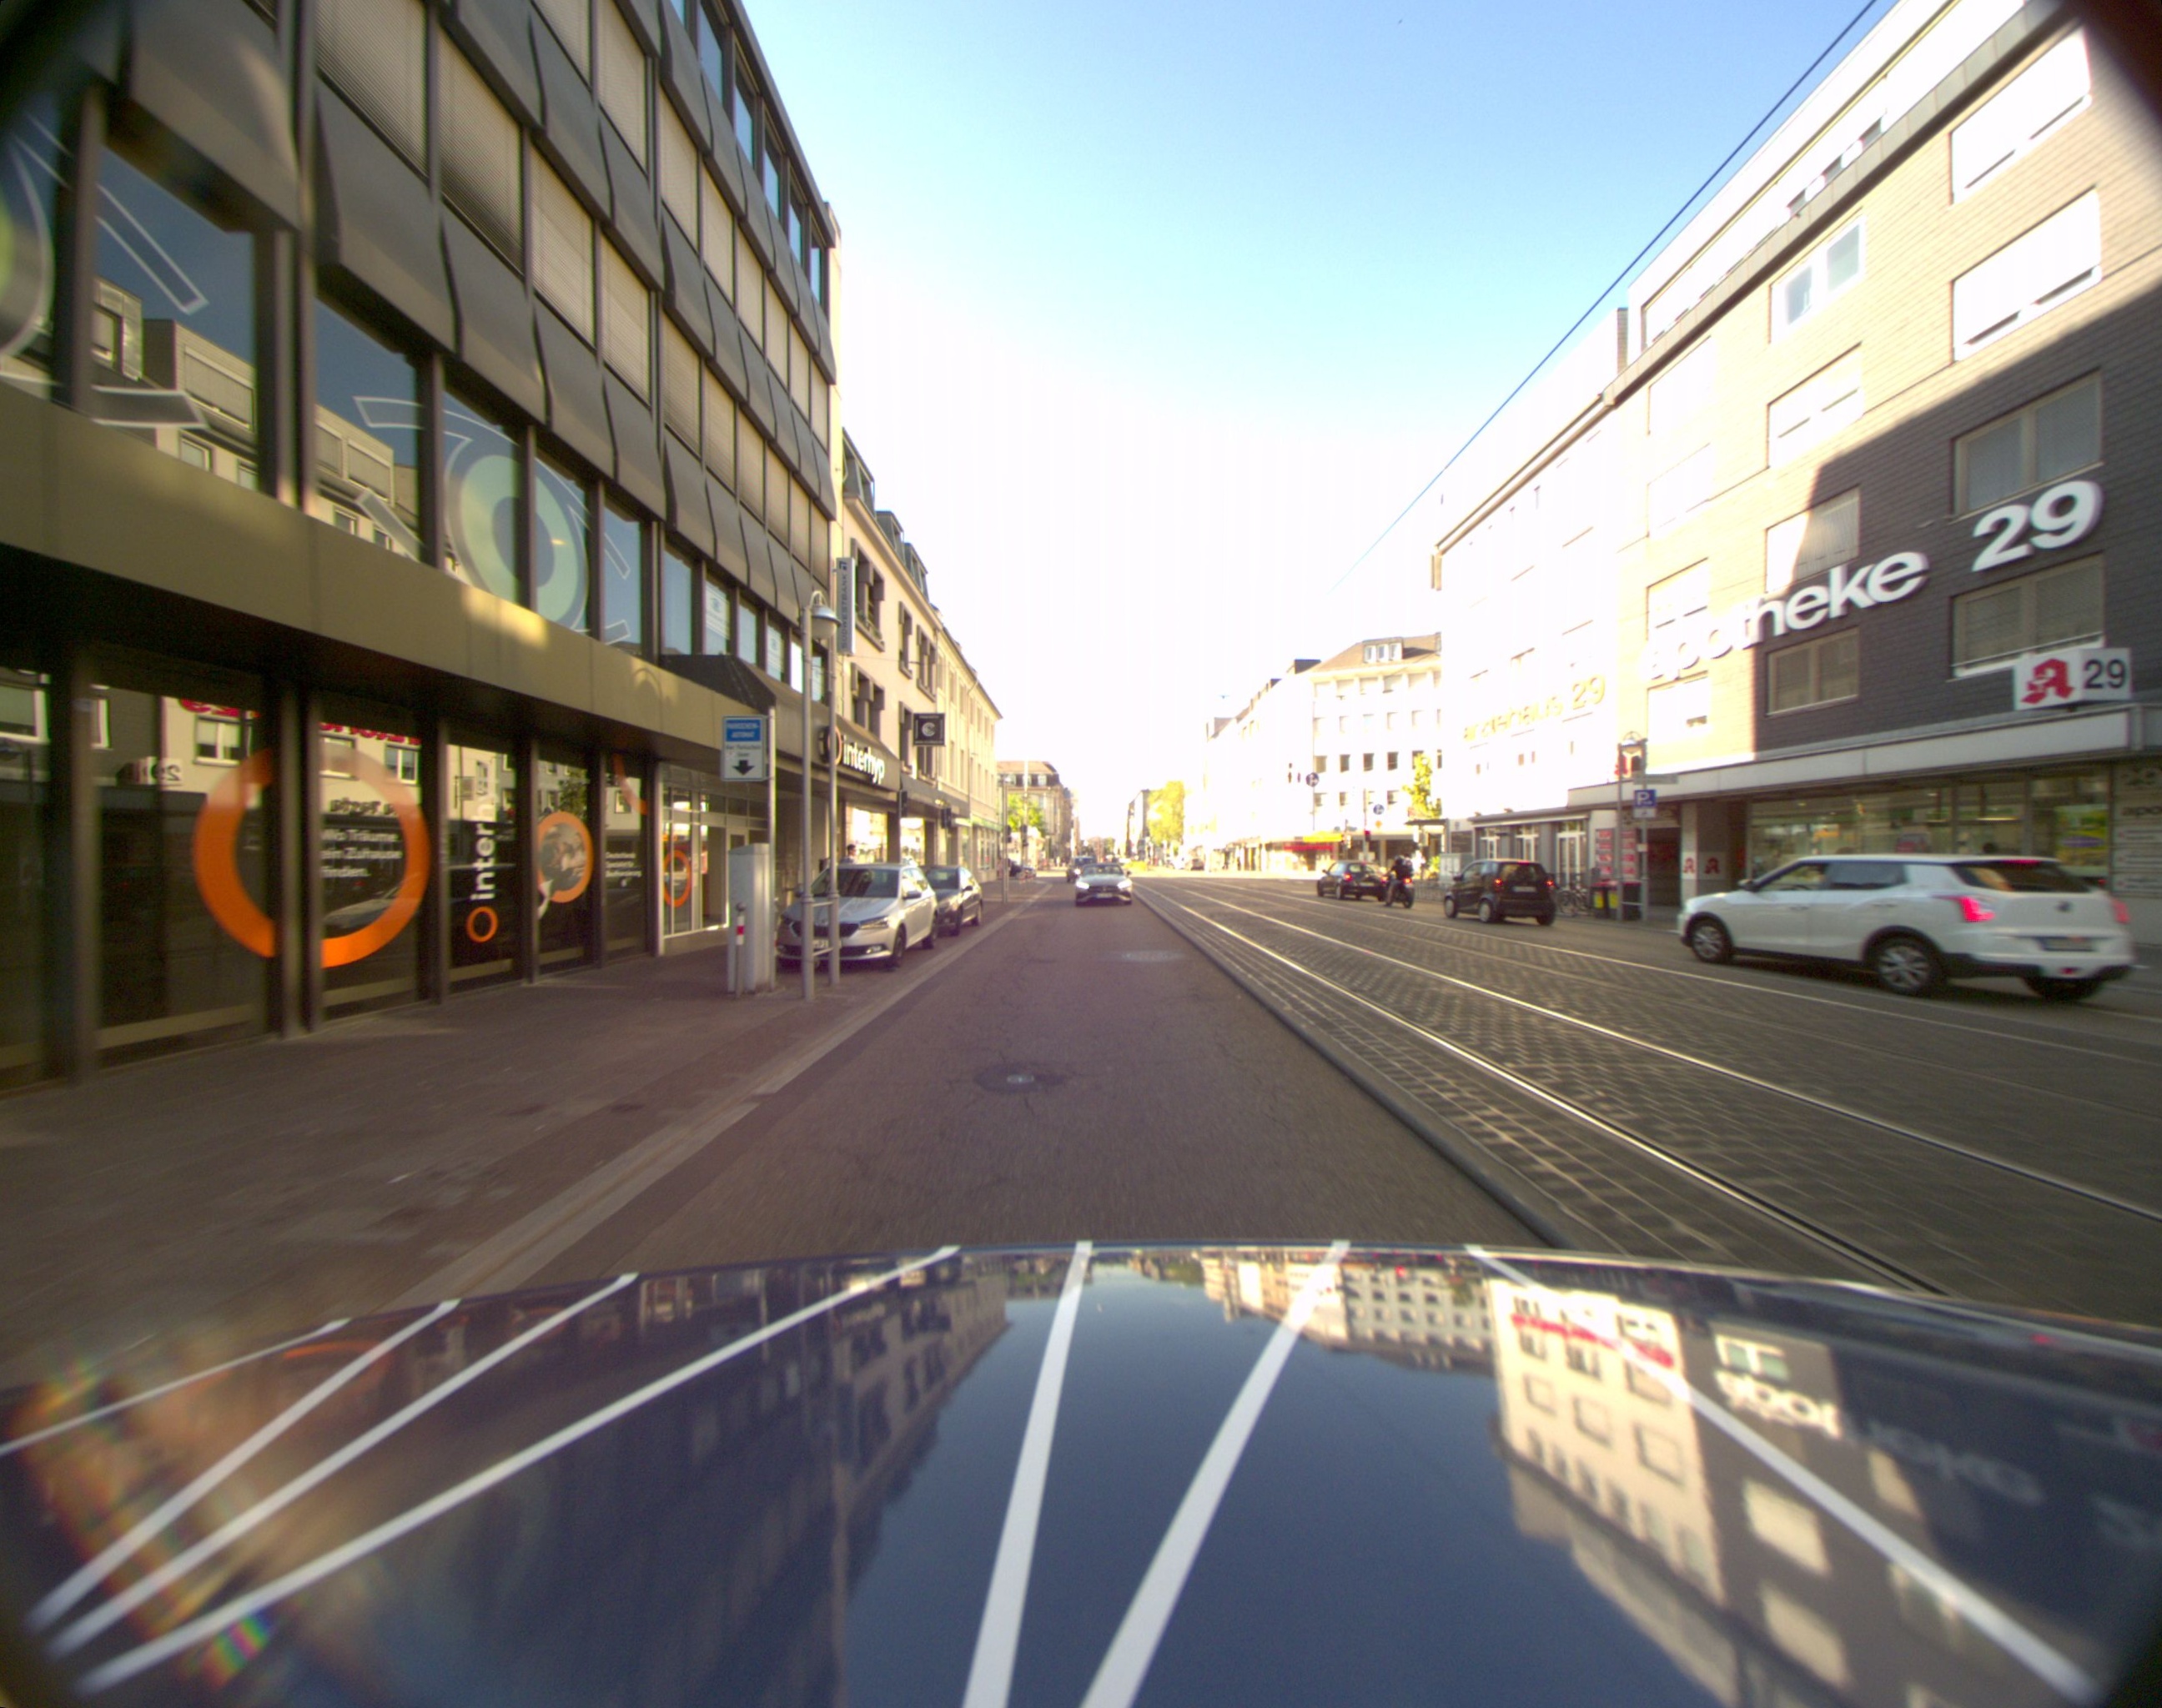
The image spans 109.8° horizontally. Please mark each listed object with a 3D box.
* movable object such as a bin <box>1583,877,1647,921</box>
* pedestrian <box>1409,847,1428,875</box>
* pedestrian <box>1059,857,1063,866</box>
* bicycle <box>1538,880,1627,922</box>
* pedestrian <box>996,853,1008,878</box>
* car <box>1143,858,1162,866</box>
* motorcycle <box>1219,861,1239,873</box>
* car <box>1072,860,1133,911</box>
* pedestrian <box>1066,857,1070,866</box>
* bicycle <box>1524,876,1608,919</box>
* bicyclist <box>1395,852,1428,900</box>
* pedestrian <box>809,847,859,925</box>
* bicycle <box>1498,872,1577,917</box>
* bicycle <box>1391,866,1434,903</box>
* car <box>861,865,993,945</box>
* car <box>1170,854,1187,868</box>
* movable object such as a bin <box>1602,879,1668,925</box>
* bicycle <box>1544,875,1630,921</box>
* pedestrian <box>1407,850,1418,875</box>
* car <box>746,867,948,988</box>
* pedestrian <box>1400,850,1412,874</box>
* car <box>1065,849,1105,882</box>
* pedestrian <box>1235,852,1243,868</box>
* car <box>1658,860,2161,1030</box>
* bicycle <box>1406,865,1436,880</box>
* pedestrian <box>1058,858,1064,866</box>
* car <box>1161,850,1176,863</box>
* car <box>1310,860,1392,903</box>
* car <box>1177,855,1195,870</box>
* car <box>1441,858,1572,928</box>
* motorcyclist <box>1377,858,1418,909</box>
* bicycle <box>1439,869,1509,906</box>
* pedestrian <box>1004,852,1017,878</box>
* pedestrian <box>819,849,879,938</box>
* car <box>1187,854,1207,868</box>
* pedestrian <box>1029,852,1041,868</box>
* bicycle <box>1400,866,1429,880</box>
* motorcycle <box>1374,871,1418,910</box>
[{"bbox_3d":[13.605,1.135,19.373,1.102,1.065,0.735,-1,0,1],"label":"movable object such as a bin"},{"bbox_3d":[23.009,0.469,51.827,1.000,1.855,0.781,0,-2,10],"label":"pedestrian"},{"bbox_3d":[-2.833,1.049,108.337,0.622,1.266,0.779,0,0,-3],"label":"pedestrian"},{"bbox_3d":[13.669,1.265,20.739,1.940,1.104,0.774,0,0,-4],"label":"bicycle"},{"bbox_3d":[-5.622,0.812,54.086,0.648,1.749,0.575,0,1,25],"label":"pedestrian"},{"bbox_3d":[14.944,1.682,158.932,3.996,1.787,2.000,0,0,2],"label":"car"},{"bbox_3d":[18.438,1.635,94.902,2.254,1.496,1.000,0,0,-2],"label":"motorcycle"},{"bbox_3d":[0.723,1.009,26.285,1.910,1.454,4.362,-1,2,1],"label":"car"},{"bbox_3d":[-1.893,1.032,108.567,0.509,1.266,0.719,0,0,-7],"label":"pedestrian"},{"bbox_3d":[13.772,1.233,21.592,1.940,1.145,0.774,-1,0,-4],"label":"bicycle"},{"bbox_3d":[12.195,0.791,28.105,0.752,1.719,1.146,0,0,2],"label":"bicyclist"},{"bbox_3d":[-5.665,0.713,17.453,0.781,1.742,1.032,0,0,2],"label":"pedestrian"},{"bbox_3d":[13.837,1.207,23.071,1.940,1.272,0.774,-1,0,-4],"label":"bicycle"},{"bbox_3d":[12.221,1.111,28.073,0.752,1.285,2.025,0,0,1],"label":"bicycle"},{"bbox_3d":[-3.206,1.016,16.731,1.852,1.453,4.303,1,0,3],"label":"car"},{"bbox_3d":[13.989,1.002,109.294,1.998,2.002,4.000,0,0,1],"label":"car"},{"bbox_3d":[13.580,1.160,18.647,1.102,1.057,0.699,-1,0,1],"label":"movable object such as a bin"},{"bbox_3d":[13.288,1.142,19.989,1.940,1.183,0.551,0,0,-3],"label":"bicycle"},{"bbox_3d":[22.973,0.580,52.655,0.558,1.718,0.781,0,1,10],"label":"pedestrian"},{"bbox_3d":[-3.336,0.966,11.763,1.749,1.453,4.296,0,0,1],"label":"car"},{"bbox_3d":[22.888,0.559,53.510,0.653,1.702,0.793,0,1,10],"label":"pedestrian"},{"bbox_3d":[0.181,0.666,46.871,1.911,1.859,4.094,-1,2,-7],"label":"car"},{"bbox_3d":[16.761,0.685,80.722,0.710,1.699,0.561,0,0,22],"label":"pedestrian"},{"bbox_3d":[9.796,0.906,9.536,1.894,1.584,4.263,1,0,1],"label":"car"},{"bbox_3d":[23.154,1.262,51.775,1.722,1.001,0.762,0,-3,13],"label":"bicycle"},{"bbox_3d":[-3.452,1.367,133.068,0.946,1.456,0.780,0,0,2],"label":"pedestrian"},{"bbox_3d":[13.829,0.463,120.571,1.998,2.002,4.000,0,0,1],"label":"car"},{"bbox_3d":[10.180,0.985,28.969,1.717,1.437,4.139,2,0,1],"label":"car"},{"bbox_3d":[14.308,1.118,103.622,1.998,2.002,4.844,0,0,4],"label":"car"},{"bbox_3d":[10.167,0.878,18.378,1.652,1.556,2.829,0,0,1],"label":"car"},{"bbox_3d":[9.943,0.918,23.890,0.805,1.549,1.146,1,0,2],"label":"motorcyclist"},{"bbox_3d":[13.984,1.175,27.060,2.109,1.216,0.774,-1,0,-4],"label":"bicycle"},{"bbox_3d":[-5.009,0.752,54.028,0.680,1.831,0.643,0,0,25],"label":"pedestrian"},{"bbox_3d":[-5.000,0.828,16.459,0.925,1.832,0.999,2,0,2],"label":"pedestrian"},{"bbox_3d":[14.509,0.830,95.334,1.998,1.696,4.000,0,0,1],"label":"car"},{"bbox_3d":[-4.808,0.652,79.487,0.947,1.653,0.915,0,0,-24],"label":"pedestrian"},{"bbox_3d":[23.054,1.290,52.514,1.791,0.962,0.554,0,0,13],"label":"bicycle"},{"bbox_3d":[9.985,1.138,24.162,0.571,1.113,2.117,1,0,1],"label":"motorcycle"}]
